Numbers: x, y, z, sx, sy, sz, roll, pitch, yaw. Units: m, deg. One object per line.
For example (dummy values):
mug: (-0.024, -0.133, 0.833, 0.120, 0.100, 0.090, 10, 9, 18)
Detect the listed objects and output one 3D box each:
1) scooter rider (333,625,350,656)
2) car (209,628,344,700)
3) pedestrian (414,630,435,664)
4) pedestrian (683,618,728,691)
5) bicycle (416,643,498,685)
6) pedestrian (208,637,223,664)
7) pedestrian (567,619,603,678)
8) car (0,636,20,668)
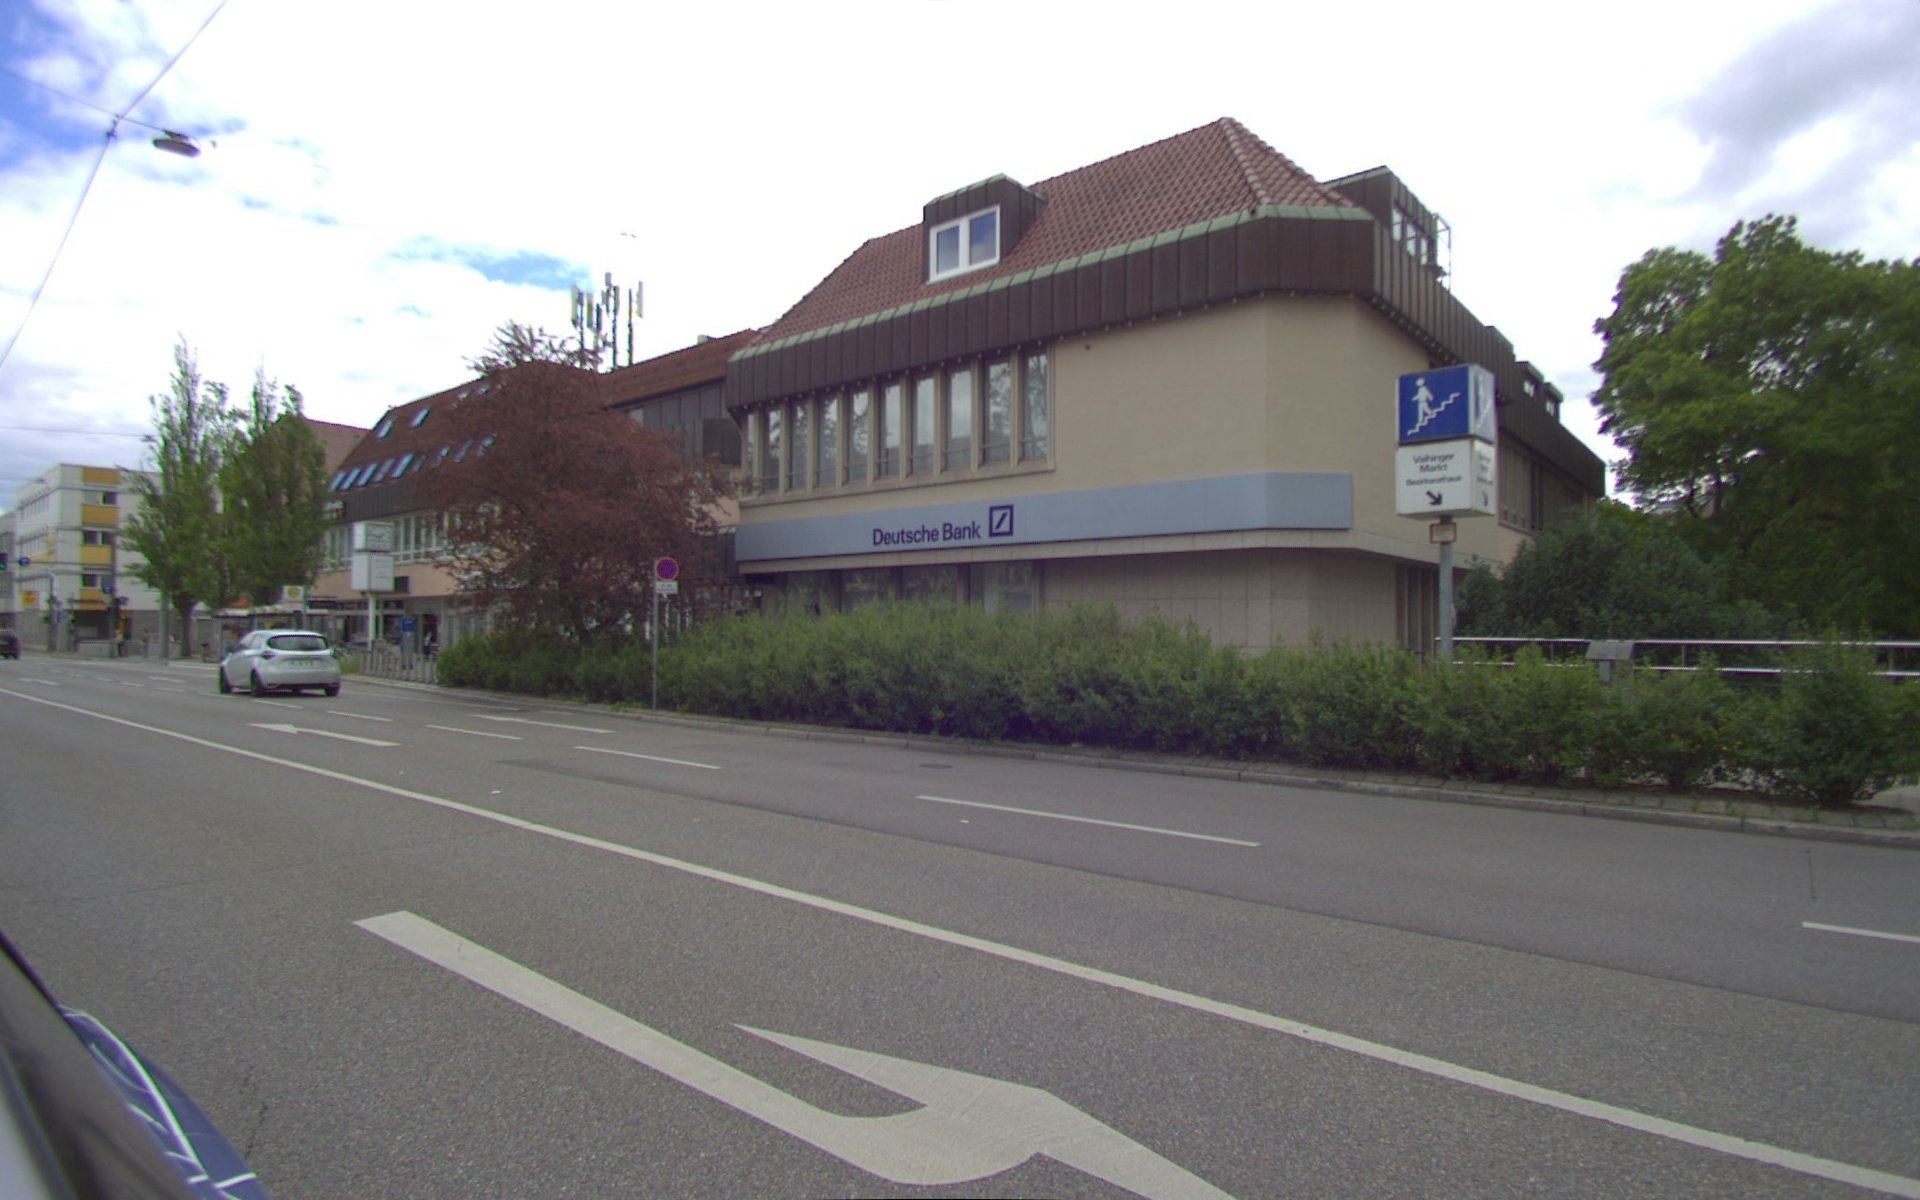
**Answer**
scooter rider: (-34.953, 2.294, 57.193, 0.587, 1.725, 0.607, -2, 0, 37)
car: (-16.362, 1.510, 24.170, 3.924, 1.580, 1.623, -2, -5, 41)
pedestrian: (-25.213, 2.206, 47.664, 0.587, 1.559, 0.704, -3, -2, 39)
pedestrian: (-6.416, 1.361, 25.534, 0.754, 1.777, 0.719, -2, 0, 38)
bicycle: (-13.998, 1.770, 28.218, 0.646, 1.098, 2.003, -2, -2, 30)
pedestrian: (-45.566, 3.091, 61.938, 0.614, 1.647, 0.580, -2, 0, 38)
pedestrian: (-11.744, 1.514, 31.695, 0.756, 1.777, 0.717, -2, 1, 44)
car: (-56.207, 2.989, 58.614, 4.691, 1.752, 2.047, -2, -4, 41)
